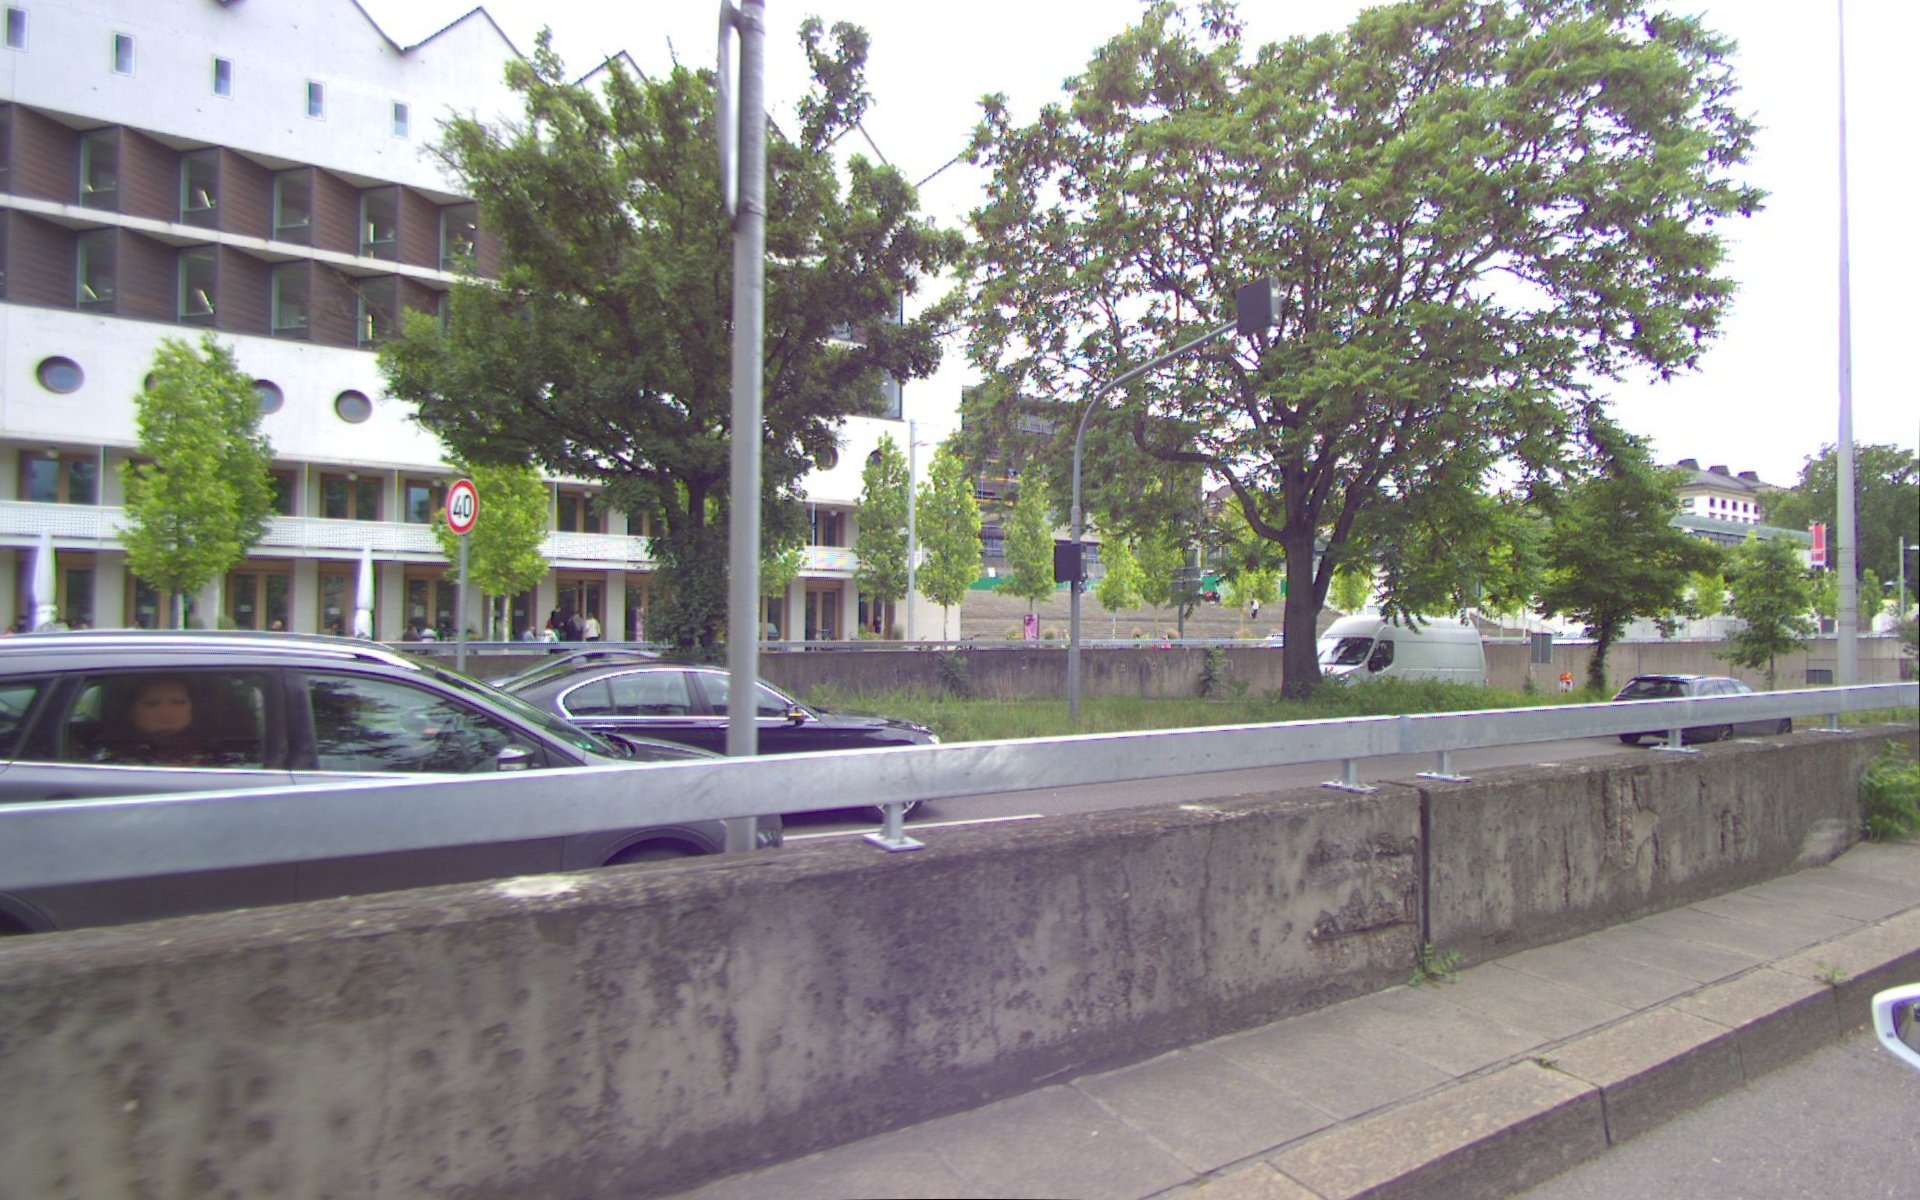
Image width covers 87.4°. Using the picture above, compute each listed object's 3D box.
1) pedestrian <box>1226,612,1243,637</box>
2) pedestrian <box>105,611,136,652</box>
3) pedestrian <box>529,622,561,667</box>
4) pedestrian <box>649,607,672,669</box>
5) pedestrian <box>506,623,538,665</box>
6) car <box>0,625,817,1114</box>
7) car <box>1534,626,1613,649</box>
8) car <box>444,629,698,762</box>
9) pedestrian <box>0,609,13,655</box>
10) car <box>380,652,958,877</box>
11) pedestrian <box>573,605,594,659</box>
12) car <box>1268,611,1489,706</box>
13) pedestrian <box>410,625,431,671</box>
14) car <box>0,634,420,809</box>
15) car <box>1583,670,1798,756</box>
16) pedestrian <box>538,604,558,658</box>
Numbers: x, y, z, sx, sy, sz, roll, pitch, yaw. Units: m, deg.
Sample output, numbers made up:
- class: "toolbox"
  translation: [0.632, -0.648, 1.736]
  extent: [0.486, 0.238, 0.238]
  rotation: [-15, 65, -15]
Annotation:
- class: "pedestrian"
  translation: [19.266, 1.703, 70.417]
  extent: [0.849, 1.662, 0.638]
  rotation: [2, 4, -31]
- class: "pedestrian"
  translation: [-27.462, 1.023, 32.859]
  extent: [0.642, 1.345, 0.630]
  rotation: [1, -1, -28]
- class: "pedestrian"
  translation: [-15.189, 1.632, 36.764]
  extent: [0.622, 1.542, 0.912]
  rotation: [-6, -6, 17]
- class: "pedestrian"
  translation: [-10.261, 1.314, 34.379]
  extent: [0.623, 2.038, 0.630]
  rotation: [2, -7, -30]
- class: "pedestrian"
  translation: [-16.076, 1.608, 36.841]
  extent: [0.622, 1.543, 0.912]
  rotation: [-1, -2, 18]
- class: "car"
  translation: [-3.207, 1.018, 4.970]
  extent: [4.606, 1.738, 1.883]
  rotation: [1, 0, -32]
- class: "car"
  translation: [34.019, 2.096, 55.676]
  extent: [4.755, 1.133, 1.799]
  rotation: [2, 0, -32]
- class: "car"
  translation: [-6.964, 1.617, 18.034]
  extent: [3.955, 2.040, 1.983]
  rotation: [2, 0, -31]
- class: "pedestrian"
  translation: [-28.835, 0.953, 29.912]
  extent: [0.622, 1.344, 0.651]
  rotation: [-3, -5, -3]
- class: "car"
  translation: [-2.560, 1.287, 9.247]
  extent: [4.751, 1.502, 1.985]
  rotation: [1, -1, -30]
- class: "pedestrian"
  translation: [-14.842, 1.268, 39.594]
  extent: [0.729, 2.037, 0.709]
  rotation: [1, -10, -28]
- class: "car"
  translation: [10.877, 1.464, 25.914]
  extent: [6.141, 2.194, 1.965]
  rotation: [2, -1, -31]
- class: "pedestrian"
  translation: [-19.776, 1.740, 36.797]
  extent: [0.623, 1.655, 0.629]
  rotation: [2, -1, -30]
- class: "car"
  translation: [-8.735, 1.264, 11.547]
  extent: [4.394, 1.740, 1.848]
  rotation: [1, -2, -31]
- class: "car"
  translation: [15.231, 2.267, 20.888]
  extent: [4.805, 1.479, 1.804]
  rotation: [2, 0, -30]
- class: "pedestrian"
  translation: [-15.949, 1.208, 38.870]
  extent: [0.623, 2.037, 0.630]
  rotation: [2, -10, -30]
